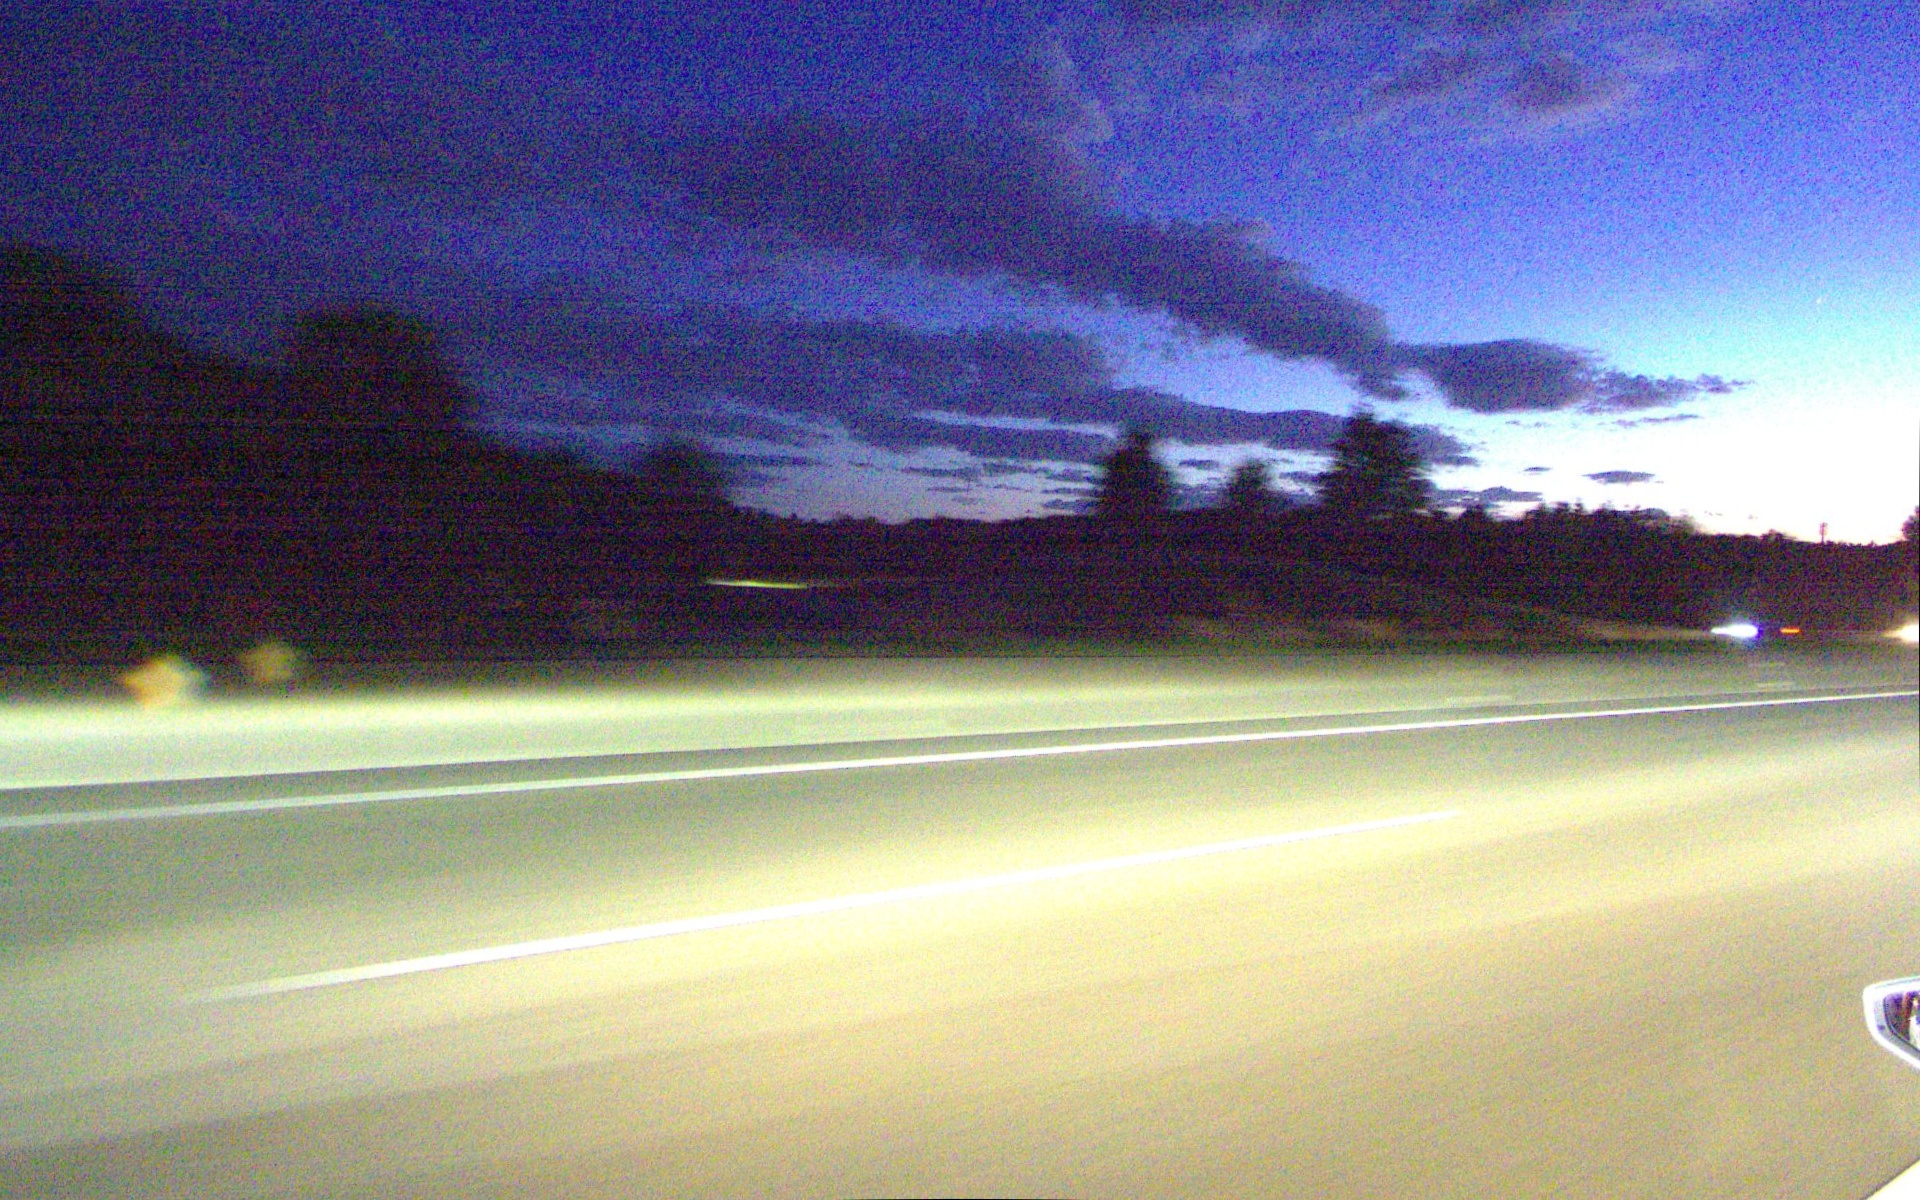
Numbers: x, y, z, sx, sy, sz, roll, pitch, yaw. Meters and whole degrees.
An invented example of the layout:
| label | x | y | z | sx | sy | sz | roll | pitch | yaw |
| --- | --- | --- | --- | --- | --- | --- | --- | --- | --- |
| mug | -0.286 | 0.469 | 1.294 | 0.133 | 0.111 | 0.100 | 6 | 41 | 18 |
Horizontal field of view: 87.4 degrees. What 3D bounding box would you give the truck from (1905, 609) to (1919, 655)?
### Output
| label | x | y | z | sx | sy | sz | roll | pitch | yaw |
| --- | --- | --- | --- | --- | --- | --- | --- | --- | --- |
| truck | 60.829 | 2.027 | 61.444 | 7.534 | 2.763 | 2.186 | 1 | 3 | -30 |
